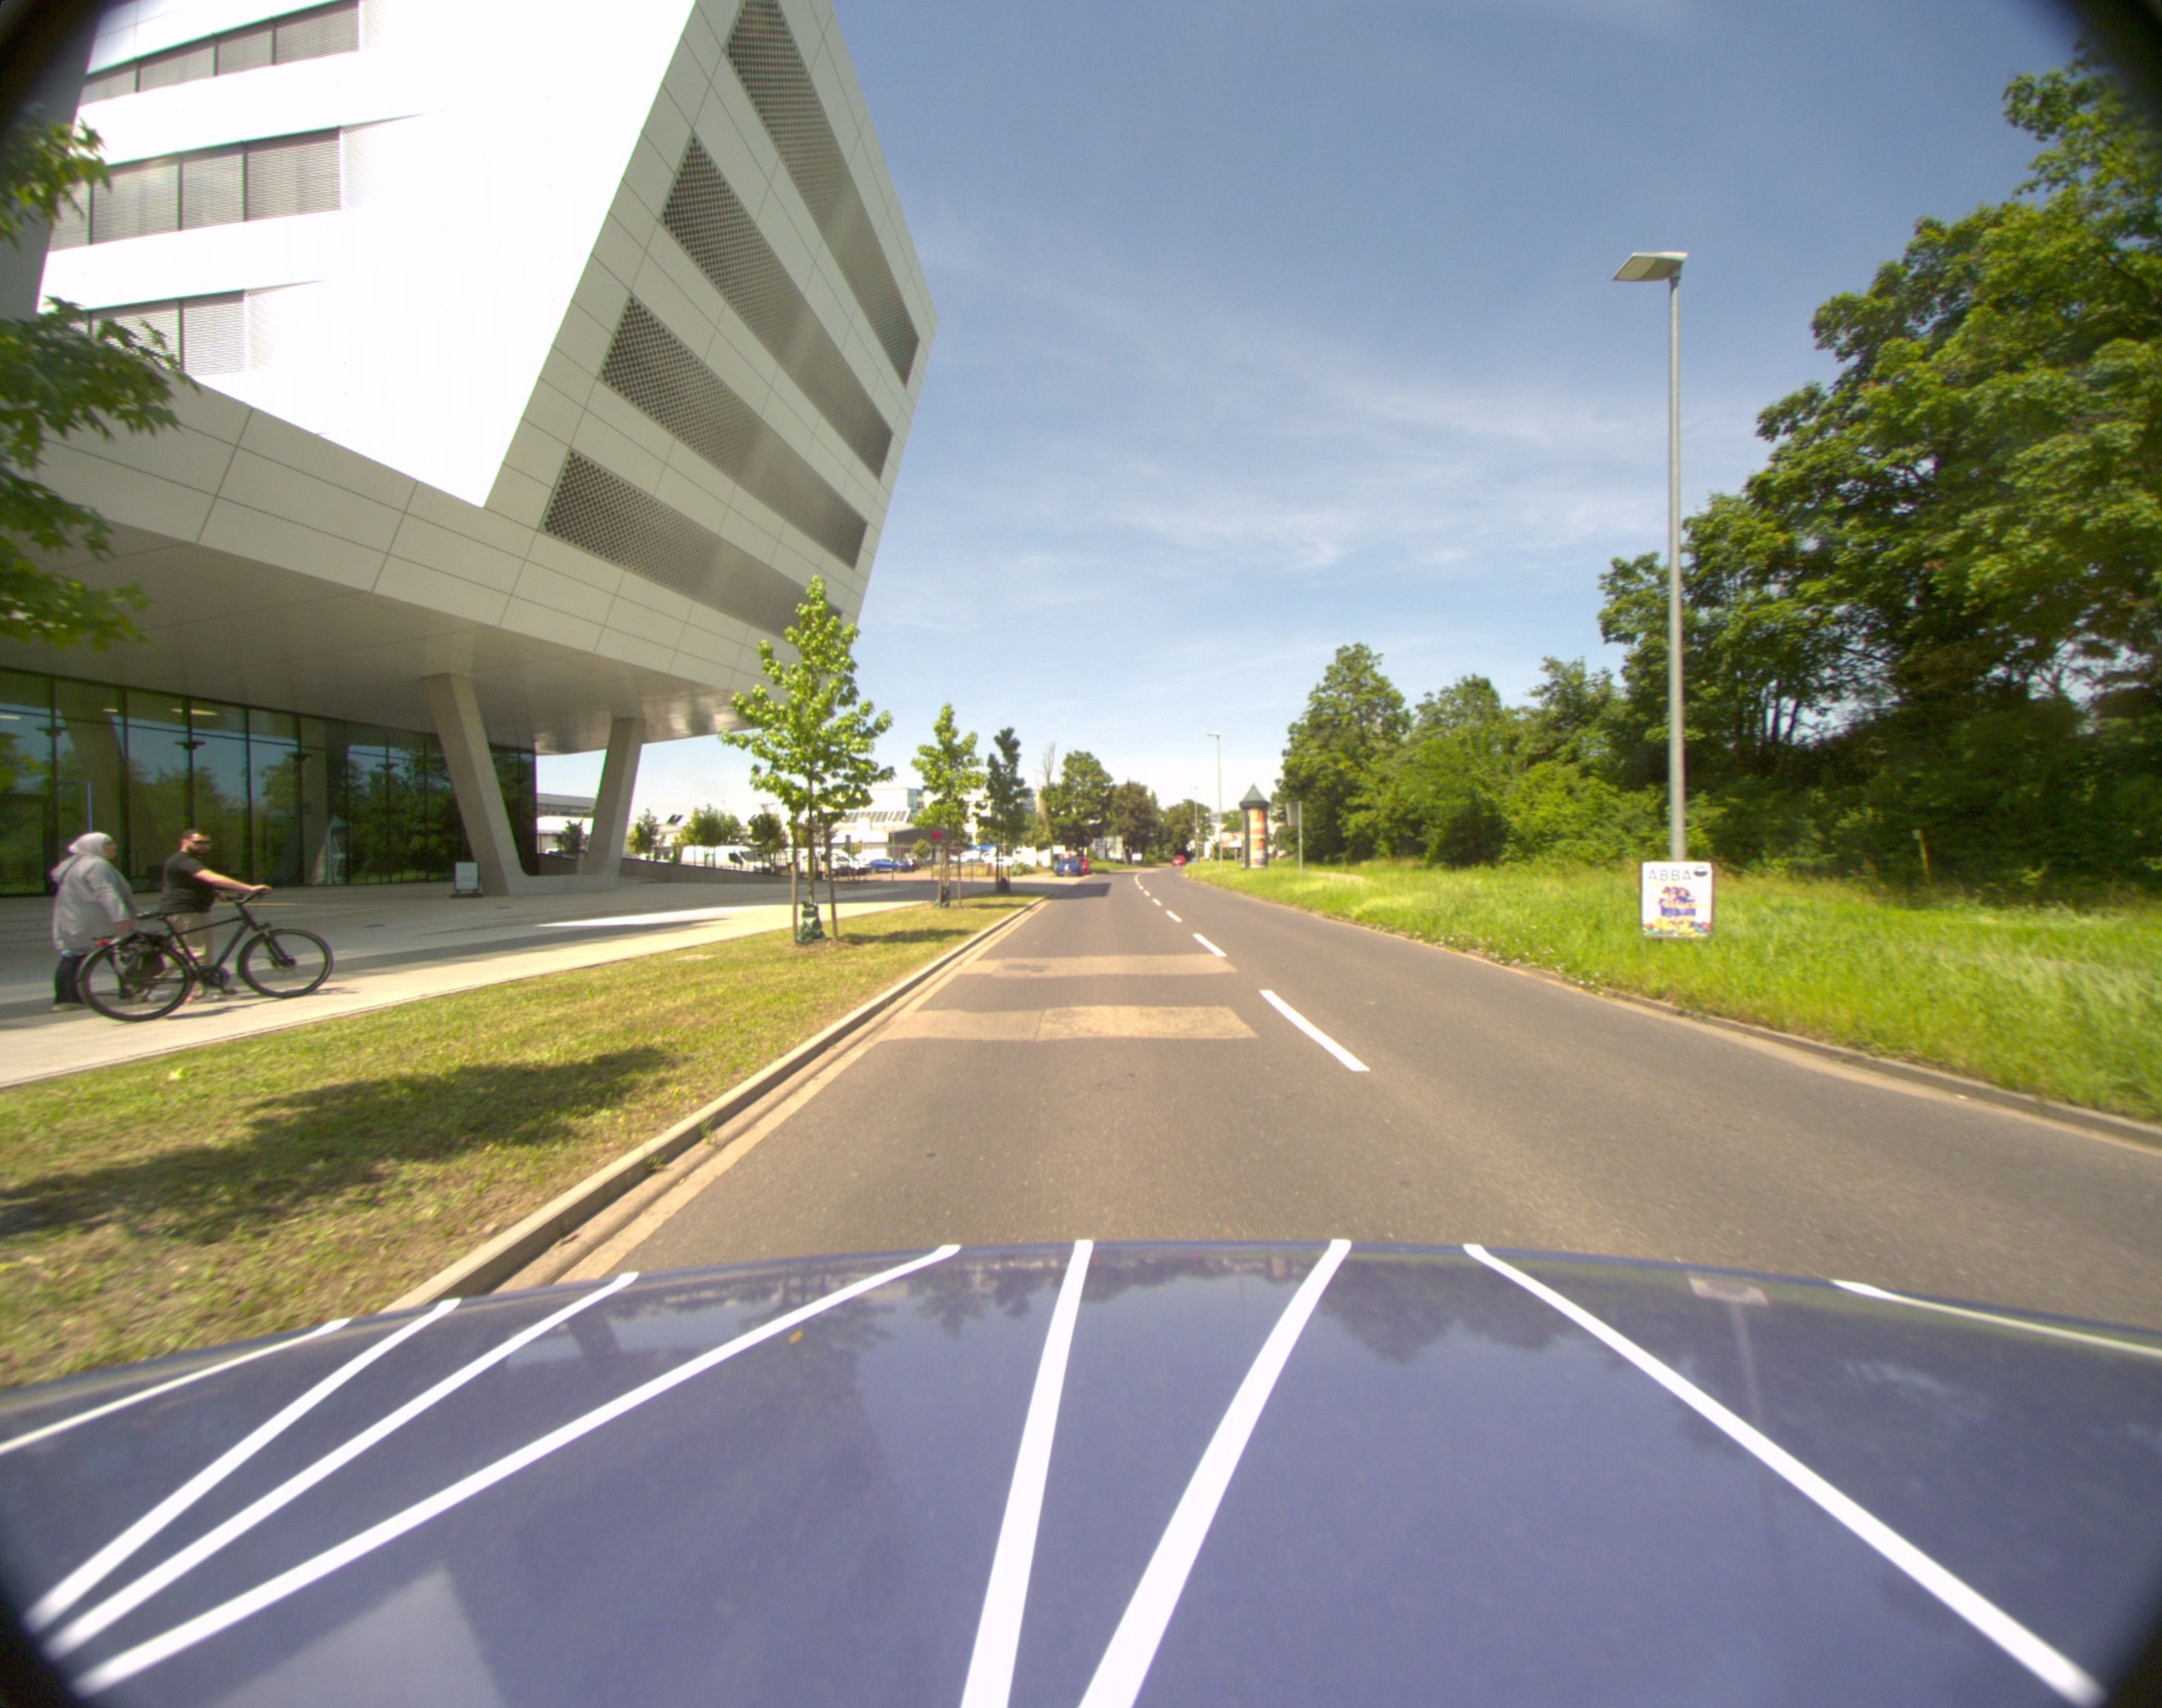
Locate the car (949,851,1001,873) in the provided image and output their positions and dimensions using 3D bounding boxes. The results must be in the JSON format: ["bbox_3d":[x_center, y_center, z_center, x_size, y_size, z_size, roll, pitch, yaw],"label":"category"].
[{"bbox_3d":[-8.586,0.635,61.843,3.821,1.664,1.742,-2,1,5],"label":"car"}]

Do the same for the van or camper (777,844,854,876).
[{"bbox_3d":[-21.660,0.459,62.085,5.698,2.376,1.704,-2,1,8],"label":"van or camper"}]

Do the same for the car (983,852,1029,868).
[{"bbox_3d":[-7.029,0.563,71.510,3.995,1.385,1.653,-2,1,5],"label":"car"}]

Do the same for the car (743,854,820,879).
[{"bbox_3d":[-22.722,0.943,57.652,5.224,1.631,1.704,-2,1,8],"label":"car"}]

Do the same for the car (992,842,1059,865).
[{"bbox_3d":[-5.742,-0.079,78.710,6.491,2.137,2.166,-2,1,8],"label":"car"}]

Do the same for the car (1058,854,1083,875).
[{"bbox_3d":[-0.773,0.828,59.683,1.801,1.490,3.999,-2,1,1],"label":"car"}]

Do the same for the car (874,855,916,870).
[{"bbox_3d":[-18.539,0.855,75.772,3.815,1.362,1.459,-2,1,8],"label":"car"}]

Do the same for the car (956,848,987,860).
[{"bbox_3d":[-15.551,-0.005,108.196,3.916,1.533,1.704,-2,1,8],"label":"car"}]

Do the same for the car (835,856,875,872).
[{"bbox_3d":[-19.123,0.841,64.319,2.894,1.296,1.201,-2,1,8],"label":"car"}]

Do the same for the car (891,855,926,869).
[{"bbox_3d":[-17.831,0.798,78.510,3.226,1.342,1.409,-2,1,8],"label":"car"}]

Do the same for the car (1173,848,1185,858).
[{"bbox_3d":[15.098,-0.192,117.096,1.711,1.368,3.677,-2,1,10],"label":"car"}]

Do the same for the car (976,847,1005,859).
[{"bbox_3d":[-14.241,-0.125,119.659,4.320,1.648,1.704,-2,1,8],"label":"car"}]

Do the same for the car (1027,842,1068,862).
[{"bbox_3d":[-3.692,-0.232,84.391,4.203,1.964,1.704,-2,1,8],"label":"car"}]

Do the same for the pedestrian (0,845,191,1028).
[{"bbox_3d":[-9.540,0.755,7.349,0.844,1.650,0.775,-2,1,1],"label":"pedestrian"}]

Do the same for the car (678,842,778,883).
[{"bbox_3d":[-22.875,0.536,49.311,5.580,2.446,2.001,-2,1,8],"label":"car"}]

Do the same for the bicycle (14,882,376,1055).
[{"bbox_3d":[-8.132,0.955,7.209,0.645,1.247,2.305,-2,1,1],"label":"bicycle"}]

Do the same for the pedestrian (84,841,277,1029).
[{"bbox_3d":[-8.669,0.742,7.357,0.844,1.691,0.775,-2,1,1],"label":"pedestrian"}]
